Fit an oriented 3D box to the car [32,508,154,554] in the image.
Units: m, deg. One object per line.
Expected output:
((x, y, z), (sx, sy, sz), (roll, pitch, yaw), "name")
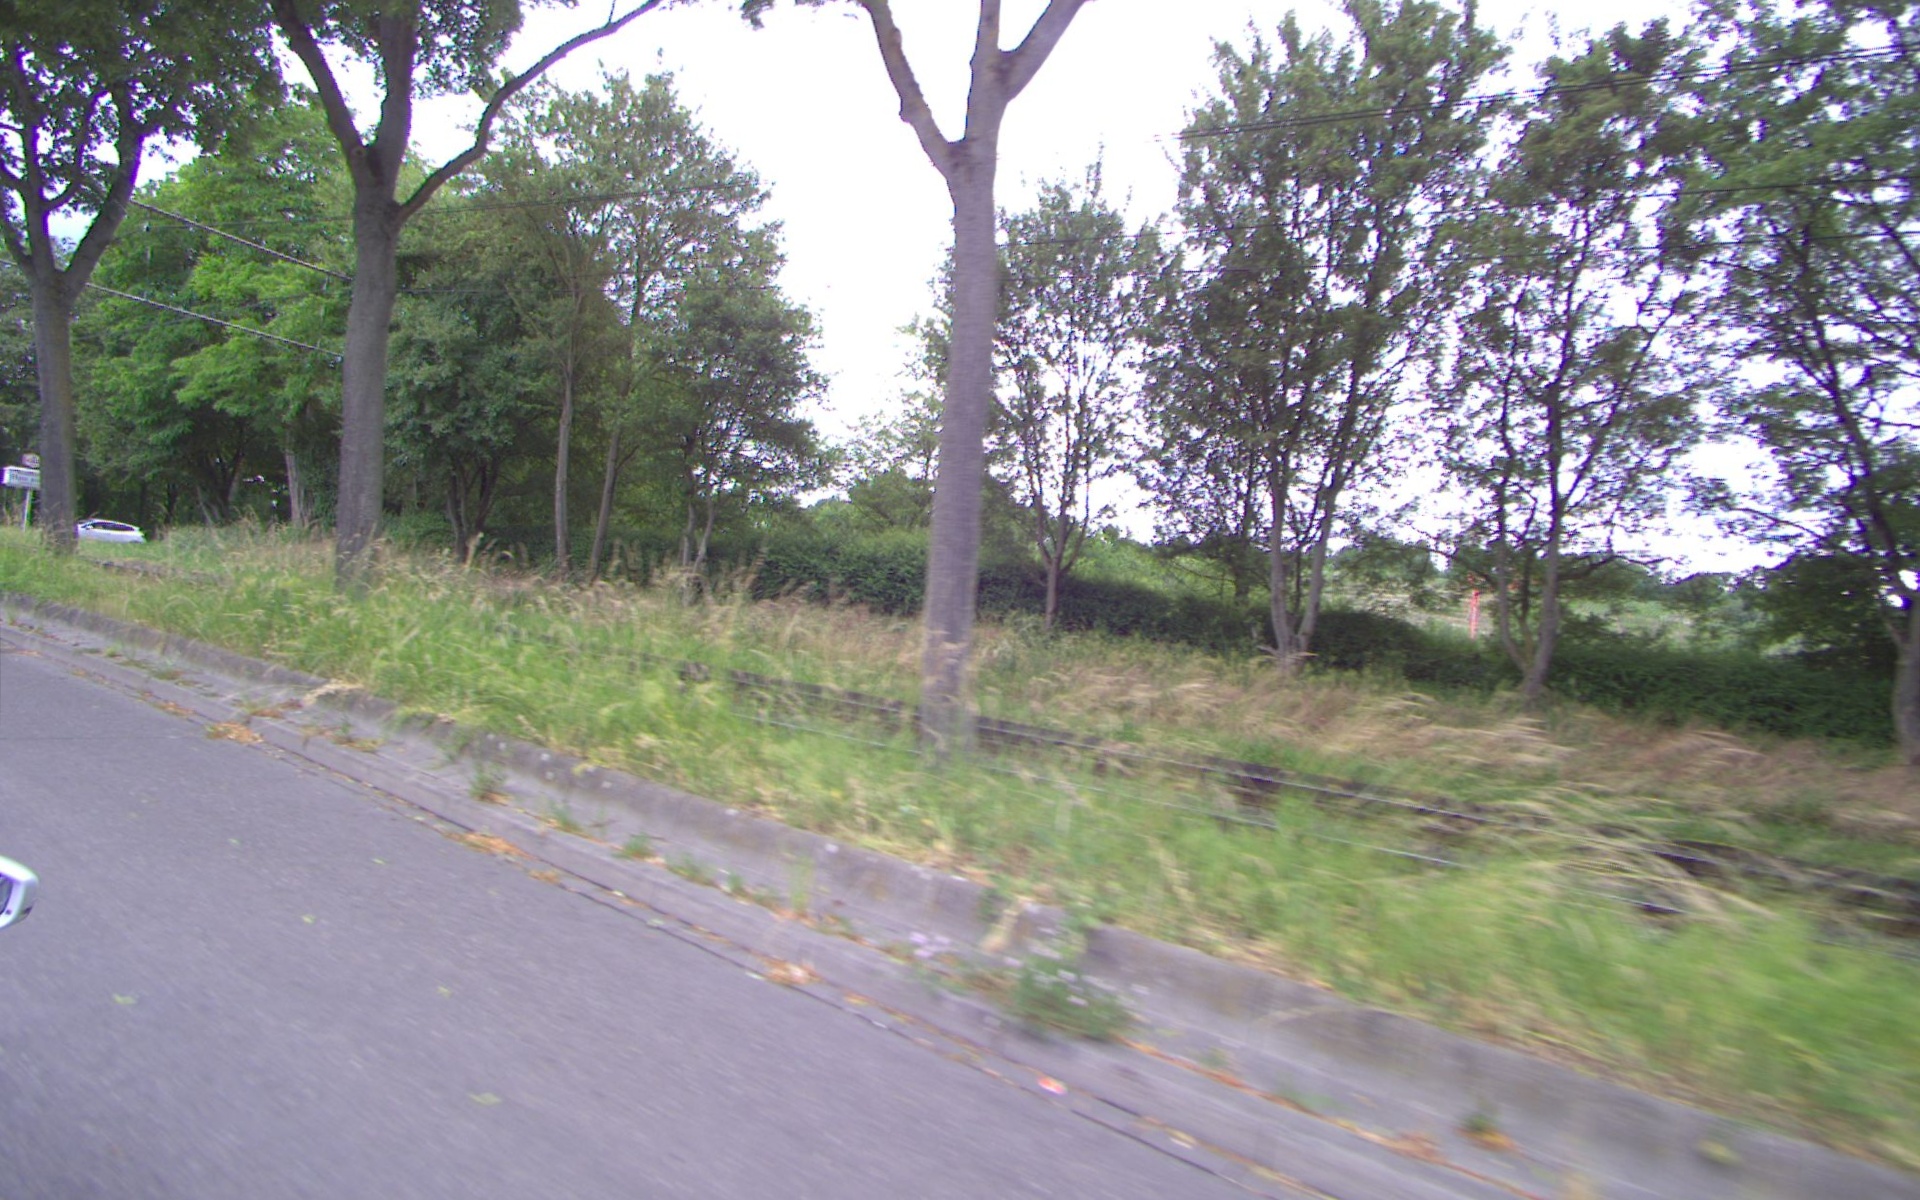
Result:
((-42.525, -3.366, 49.444), (1.965, 1.368, 4.004), (7, -5, 26), "car")
